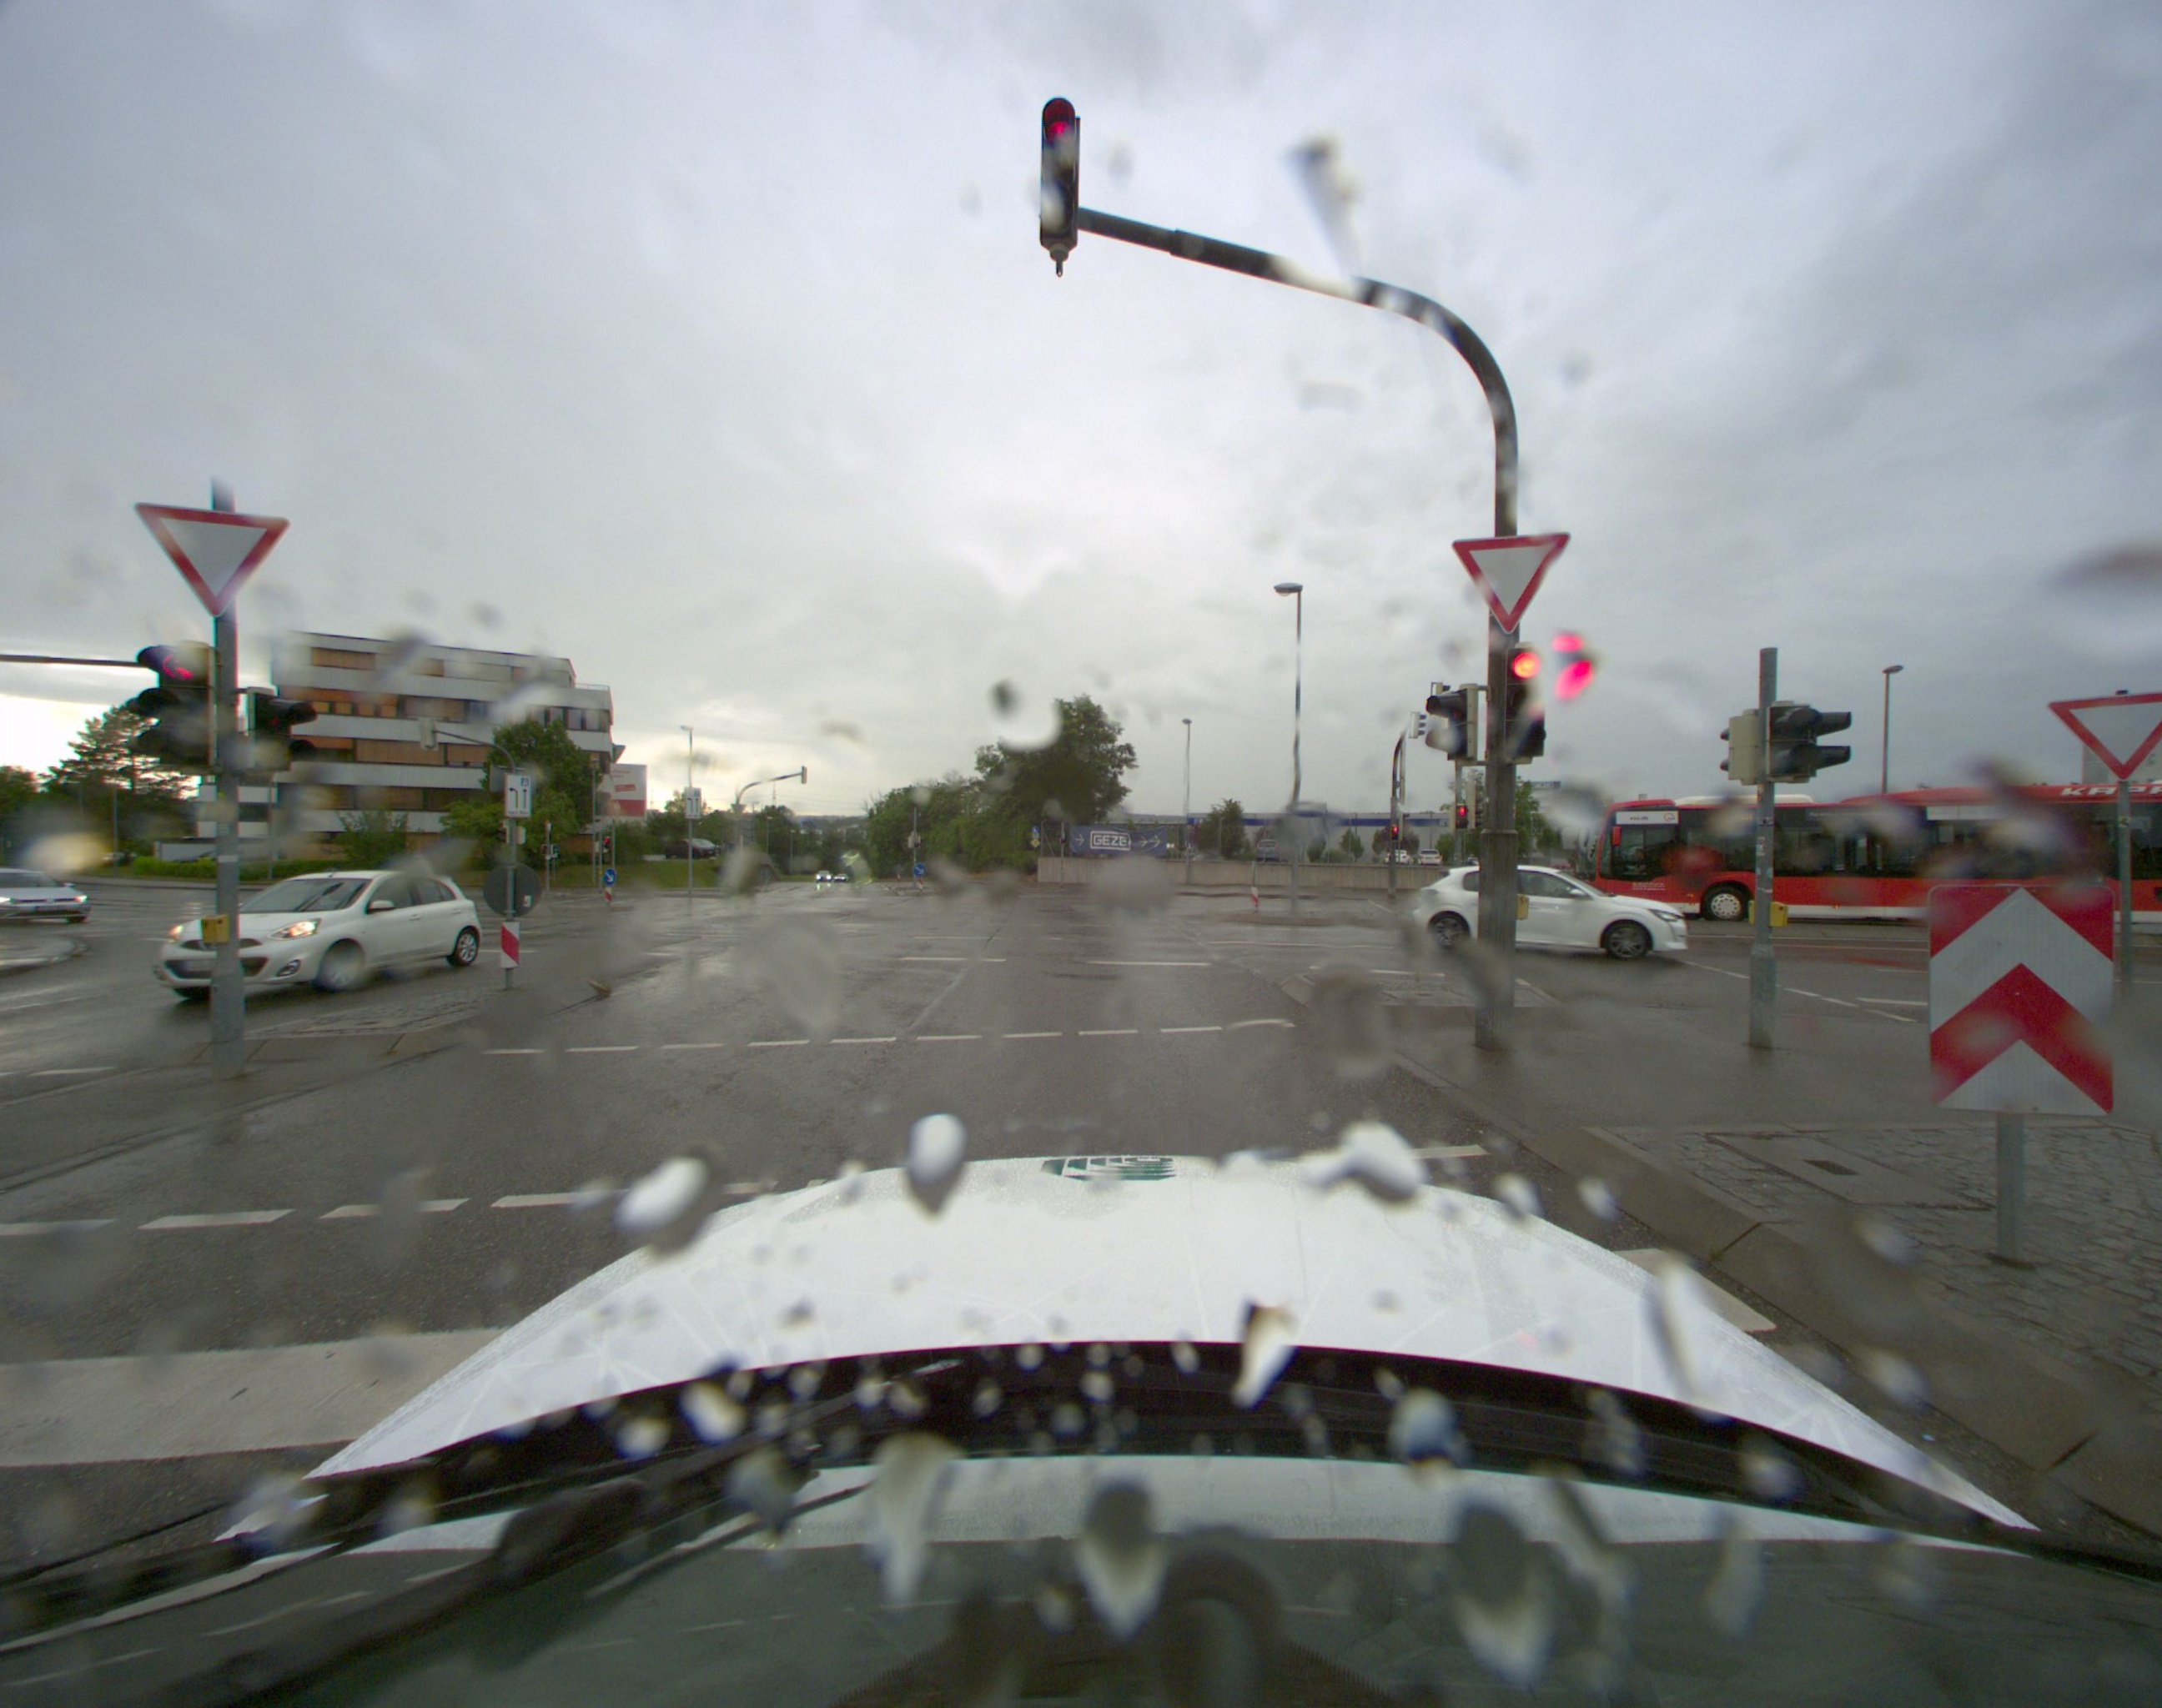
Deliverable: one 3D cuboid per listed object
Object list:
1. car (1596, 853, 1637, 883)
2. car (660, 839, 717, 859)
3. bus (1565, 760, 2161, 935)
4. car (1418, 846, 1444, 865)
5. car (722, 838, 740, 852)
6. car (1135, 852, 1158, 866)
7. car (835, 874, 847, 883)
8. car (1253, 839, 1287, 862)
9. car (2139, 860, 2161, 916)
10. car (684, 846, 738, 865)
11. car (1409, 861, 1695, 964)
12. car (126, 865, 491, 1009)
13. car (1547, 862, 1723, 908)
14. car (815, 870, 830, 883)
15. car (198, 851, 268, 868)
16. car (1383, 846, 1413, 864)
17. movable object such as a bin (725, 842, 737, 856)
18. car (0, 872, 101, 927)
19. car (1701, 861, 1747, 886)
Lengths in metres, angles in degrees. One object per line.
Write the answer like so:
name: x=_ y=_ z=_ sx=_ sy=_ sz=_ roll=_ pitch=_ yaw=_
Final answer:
car: x=37.107 y=0.970 z=56.509 sx=1.727 sy=2.014 sz=3.844 roll=-1 pitch=-1 yaw=23
car: x=-33.432 y=-0.429 z=69.351 sx=3.962 sy=1.586 sz=1.907 roll=0 pitch=-2 yaw=10
bus: x=18.764 y=-0.233 z=19.274 sx=12.152 sy=3.576 sz=3.001 roll=2 pitch=0 yaw=19
car: x=28.896 y=0.132 z=67.194 sx=1.841 sy=1.526 sz=4.127 roll=-1 pitch=-1 yaw=25
car: x=-41.392 y=-1.060 z=96.259 sx=1.836 sy=1.442 sz=3.967 roll=1 pitch=-2 yaw=-25
car: x=7.763 y=0.583 z=95.902 sx=1.651 sy=1.606 sz=3.550 roll=-1 pitch=-1 yaw=23
car: x=-42.447 y=4.360 z=144.060 sx=1.720 sy=1.494 sz=3.985 roll=0 pitch=-1 yaw=-11
car: x=13.348 y=-0.242 z=57.284 sx=1.727 sy=1.553 sz=3.550 roll=-1 pitch=-1 yaw=23
car: x=31.675 y=0.949 z=21.486 sx=4.344 sy=1.538 sz=1.834 roll=0 pitch=0 yaw=18
car: x=-32.564 y=0.111 z=71.718 sx=3.958 sy=1.586 sz=1.909 roll=0 pitch=-2 yaw=14
car: x=7.807 y=0.888 z=13.767 sx=3.929 sy=1.508 sz=1.883 roll=-1 pitch=-1 yaw=31
car: x=-10.156 y=0.966 z=11.180 sx=1.619 sy=1.505 sz=3.813 roll=-2 pitch=0 yaw=-7
car: x=17.627 y=0.948 z=26.151 sx=4.344 sy=1.354 sz=1.834 roll=0 pitch=0 yaw=18
car: x=-31.539 y=2.725 z=99.342 sx=1.667 sy=1.494 sz=3.973 roll=0 pitch=-1 yaw=-20
car: x=-70.025 y=0.432 z=67.310 sx=3.779 sy=1.399 sz=1.977 roll=0 pitch=0 yaw=-40
car: x=26.468 y=0.110 z=67.884 sx=1.800 sy=1.434 sz=4.128 roll=-1 pitch=-1 yaw=28
movable object such as a bin: x=-37.764 y=-0.518 z=87.886 sx=1.089 sy=1.437 sz=1.434 roll=1 pitch=-3 yaw=-25
car: x=-28.734 y=1.173 z=21.802 sx=4.479 sy=1.363 sz=1.771 roll=-1 pitch=-1 yaw=20
car: x=52.939 y=1.569 z=67.133 sx=1.976 sy=2.014 sz=4.022 roll=-1 pitch=-1 yaw=24
